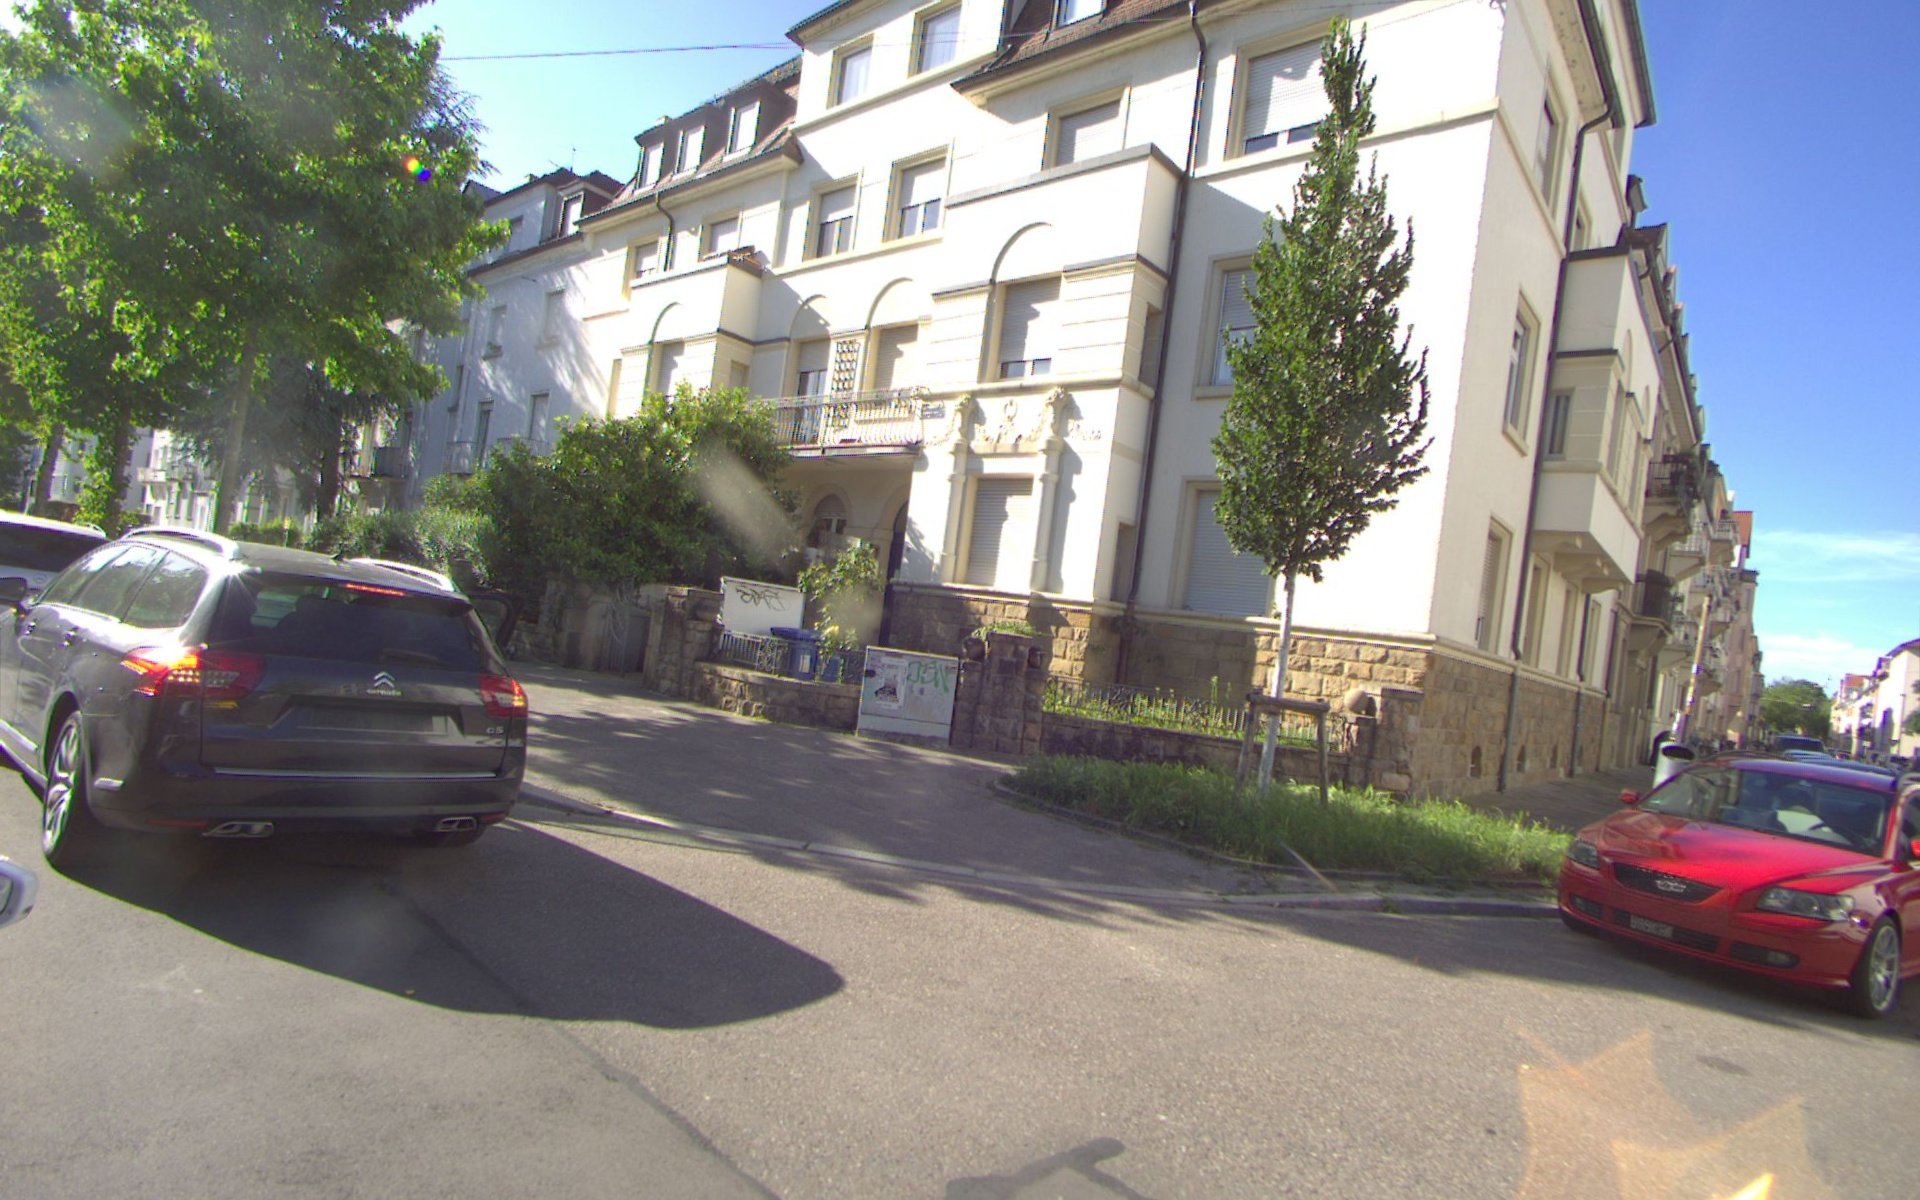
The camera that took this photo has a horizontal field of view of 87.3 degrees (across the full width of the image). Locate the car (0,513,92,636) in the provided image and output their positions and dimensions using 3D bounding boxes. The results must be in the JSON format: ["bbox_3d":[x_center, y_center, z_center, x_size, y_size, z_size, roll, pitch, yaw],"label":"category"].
[{"bbox_3d":[-13.901,-0.545,14.194,4.793,1.426,1.711,6,-3,41],"label":"car"}]

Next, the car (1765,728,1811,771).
[{"bbox_3d":[67.279,12.188,81.835,2.539,3.001,6.198,6,-3,40],"label":"car"}]

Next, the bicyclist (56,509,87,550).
[{"bbox_3d":[-36.817,-2.935,41.698,1.007,1.572,0.676,7,-1,39],"label":"bicyclist"}]

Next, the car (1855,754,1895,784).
[{"bbox_3d":[73.880,13.671,81.283,1.937,2.021,4.516,7,-3,39],"label":"car"}]

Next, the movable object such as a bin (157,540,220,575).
[{"bbox_3d":[-24.563,-1.346,32.075,1.211,0.915,1.653,8,-1,-27],"label":"movable object such as a bin"}]

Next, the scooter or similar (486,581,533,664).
[{"bbox_3d":[-7.195,0.342,16.042,0.399,1.199,1.195,7,0,-32],"label":"scooter or similar"}]

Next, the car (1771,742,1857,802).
[{"bbox_3d":[28.536,5.732,33.732,1.971,1.569,4.420,6,-3,40],"label":"car"}]

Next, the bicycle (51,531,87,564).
[{"bbox_3d":[-37.020,-2.187,41.788,2.368,1.167,0.683,6,-1,39],"label":"bicycle"}]

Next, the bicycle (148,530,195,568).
[{"bbox_3d":[-28.209,-1.833,35.983,1.971,1.128,0.804,6,-2,39],"label":"bicycle"}]

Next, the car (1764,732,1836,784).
[{"bbox_3d":[35.195,6.616,42.231,2.065,1.752,4.800,6,-3,40],"label":"car"}]

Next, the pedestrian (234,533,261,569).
[{"bbox_3d":[-24.686,-1.691,34.849,0.746,1.155,0.509,6,-2,44],"label":"pedestrian"}]

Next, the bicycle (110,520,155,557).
[{"bbox_3d":[-33.318,-2.468,40.506,2.198,1.271,0.838,6,-2,39],"label":"bicycle"}]

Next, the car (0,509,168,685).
[{"bbox_3d":[-10.329,-0.224,10.820,4.840,1.485,1.821,6,-3,41],"label":"car"}]

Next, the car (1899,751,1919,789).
[{"bbox_3d":[54.747,9.751,56.869,1.937,2.021,4.516,7,-3,39],"label":"car"}]

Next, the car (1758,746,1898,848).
[{"bbox_3d":[17.440,3.871,20.201,1.802,1.486,4.923,6,-3,42],"label":"car"}]

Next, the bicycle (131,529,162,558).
[{"bbox_3d":[-31.533,-2.178,38.975,1.877,0.969,0.595,6,-1,42],"label":"bicycle"}]

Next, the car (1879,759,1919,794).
[{"bbox_3d":[63.700,11.923,67.956,1.937,2.021,4.516,7,-3,39],"label":"car"}]

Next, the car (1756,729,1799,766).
[{"bbox_3d":[77.120,13.928,94.959,2.536,3.001,6.204,6,-3,36],"label":"car"}]

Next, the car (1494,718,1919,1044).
[{"bbox_3d":[6.249,1.903,7.513,4.690,1.486,1.936,9,-2,-34],"label":"car"}]

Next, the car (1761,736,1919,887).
[{"bbox_3d":[13.095,2.990,14.797,1.808,1.660,4.168,6,-2,40],"label":"car"}]

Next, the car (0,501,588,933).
[{"bbox_3d":[-4.407,0.373,5.930,4.898,1.541,1.895,5,-3,41],"label":"car"}]

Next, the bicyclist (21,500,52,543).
[{"bbox_3d":[-37.881,-3.216,41.281,0.908,1.629,0.676,7,-1,39],"label":"bicyclist"}]

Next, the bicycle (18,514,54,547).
[{"bbox_3d":[-37.894,-2.848,41.247,2.368,1.167,0.683,6,-1,39],"label":"bicycle"}]

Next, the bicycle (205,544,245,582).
[{"bbox_3d":[-21.865,-1.114,29.914,1.878,0.987,0.580,6,-1,44],"label":"bicycle"}]

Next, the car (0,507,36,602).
[{"bbox_3d":[-18.055,-1.018,17.992,3.913,1.548,1.655,6,-4,41],"label":"car"}]

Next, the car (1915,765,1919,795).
[{"bbox_3d":[47.370,8.811,48.128,1.937,1.486,4.516,7,-3,39],"label":"car"}]

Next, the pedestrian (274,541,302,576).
[{"bbox_3d":[-24.082,-1.480,36.059,0.745,1.155,0.509,6,-2,40],"label":"pedestrian"}]

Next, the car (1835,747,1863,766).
[{"bbox_3d":[107.605,18.893,121.763,1.969,1.878,3.991,6,-3,36],"label":"car"}]
